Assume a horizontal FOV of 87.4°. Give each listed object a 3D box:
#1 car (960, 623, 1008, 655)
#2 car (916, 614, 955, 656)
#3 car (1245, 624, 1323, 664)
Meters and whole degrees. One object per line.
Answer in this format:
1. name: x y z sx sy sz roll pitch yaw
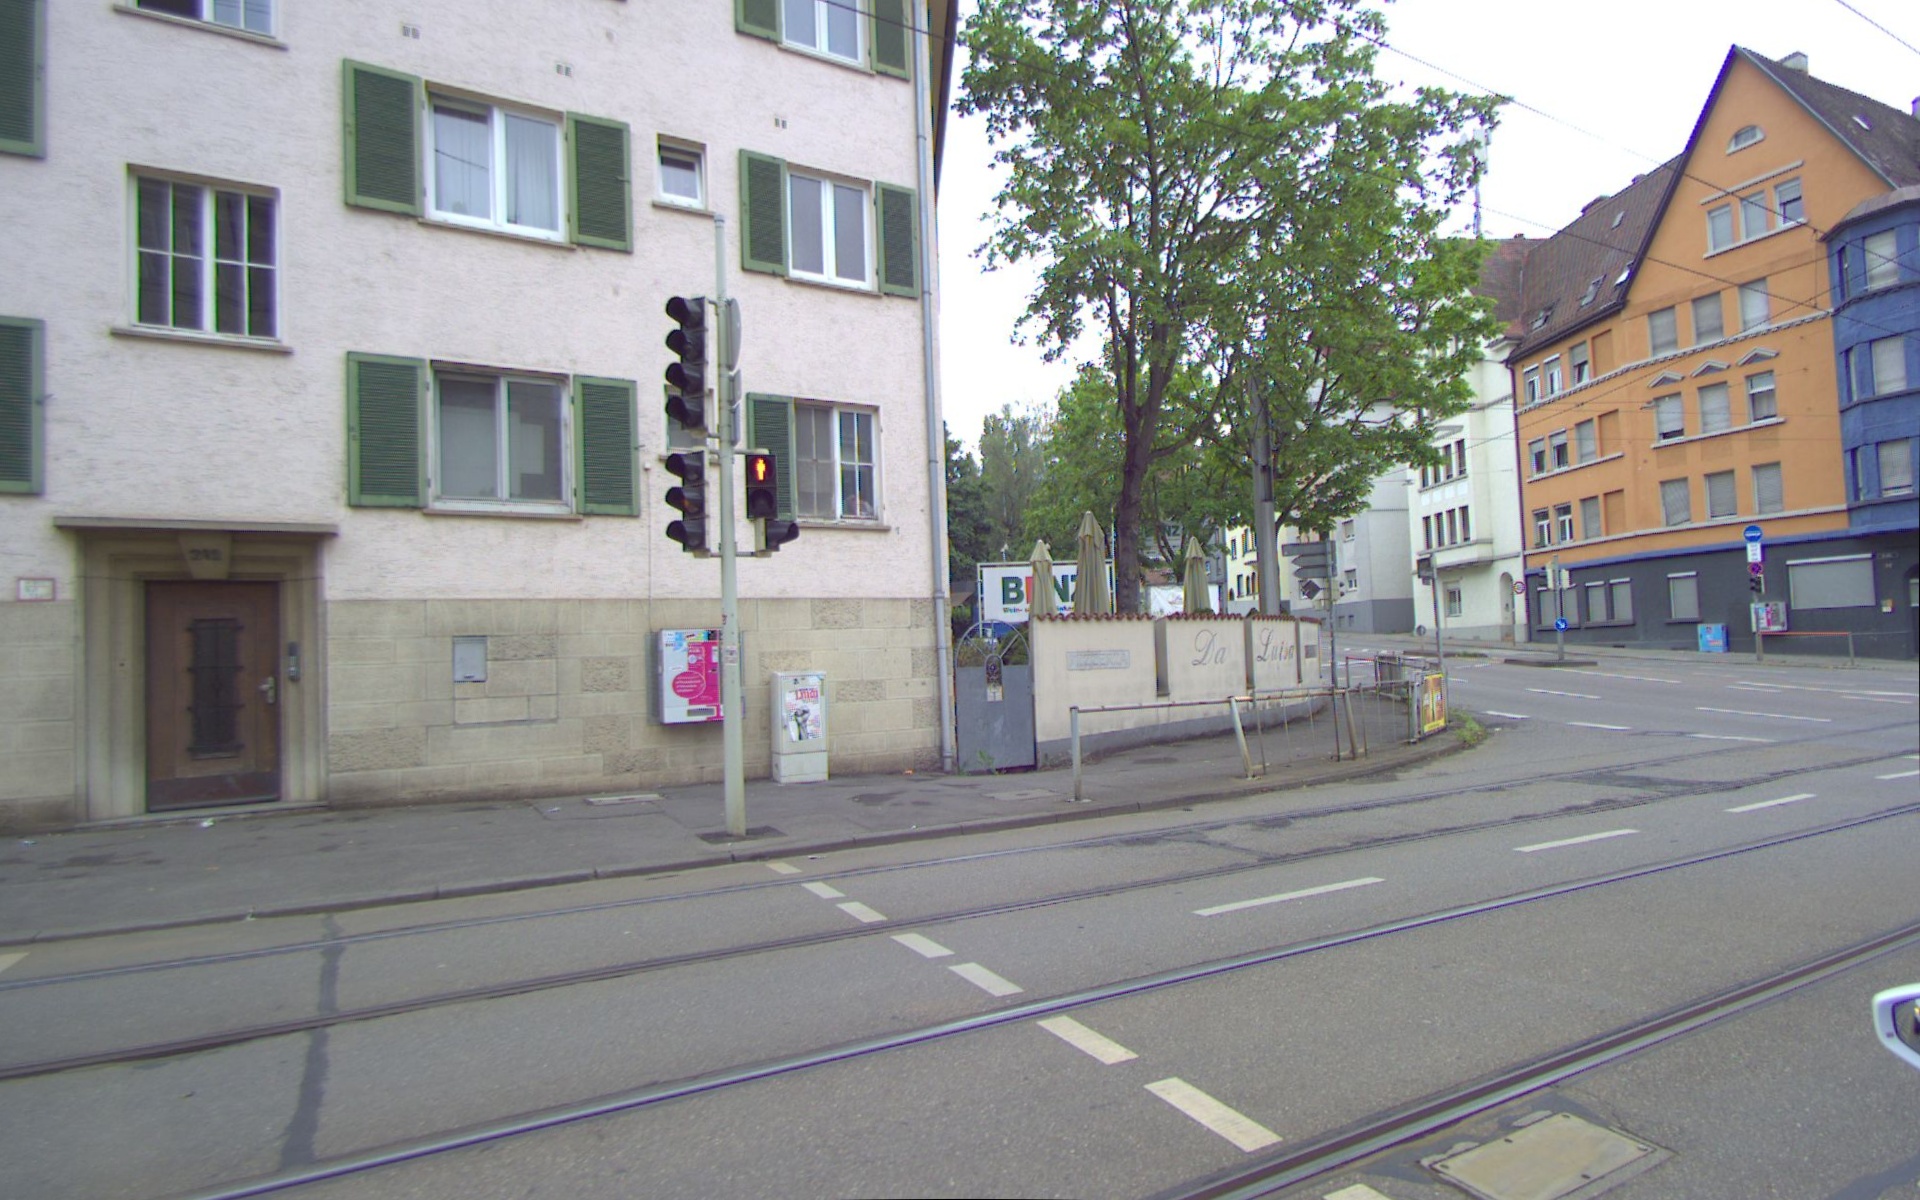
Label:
1. car: 1.113 1.859 48.757 1.681 1.429 3.994 1 -1 -9
2. car: -1.223 1.656 48.370 1.794 1.927 3.999 1 -1 -2
3. car: 12.968 1.716 40.479 1.772 1.298 4.237 -5 0 1
